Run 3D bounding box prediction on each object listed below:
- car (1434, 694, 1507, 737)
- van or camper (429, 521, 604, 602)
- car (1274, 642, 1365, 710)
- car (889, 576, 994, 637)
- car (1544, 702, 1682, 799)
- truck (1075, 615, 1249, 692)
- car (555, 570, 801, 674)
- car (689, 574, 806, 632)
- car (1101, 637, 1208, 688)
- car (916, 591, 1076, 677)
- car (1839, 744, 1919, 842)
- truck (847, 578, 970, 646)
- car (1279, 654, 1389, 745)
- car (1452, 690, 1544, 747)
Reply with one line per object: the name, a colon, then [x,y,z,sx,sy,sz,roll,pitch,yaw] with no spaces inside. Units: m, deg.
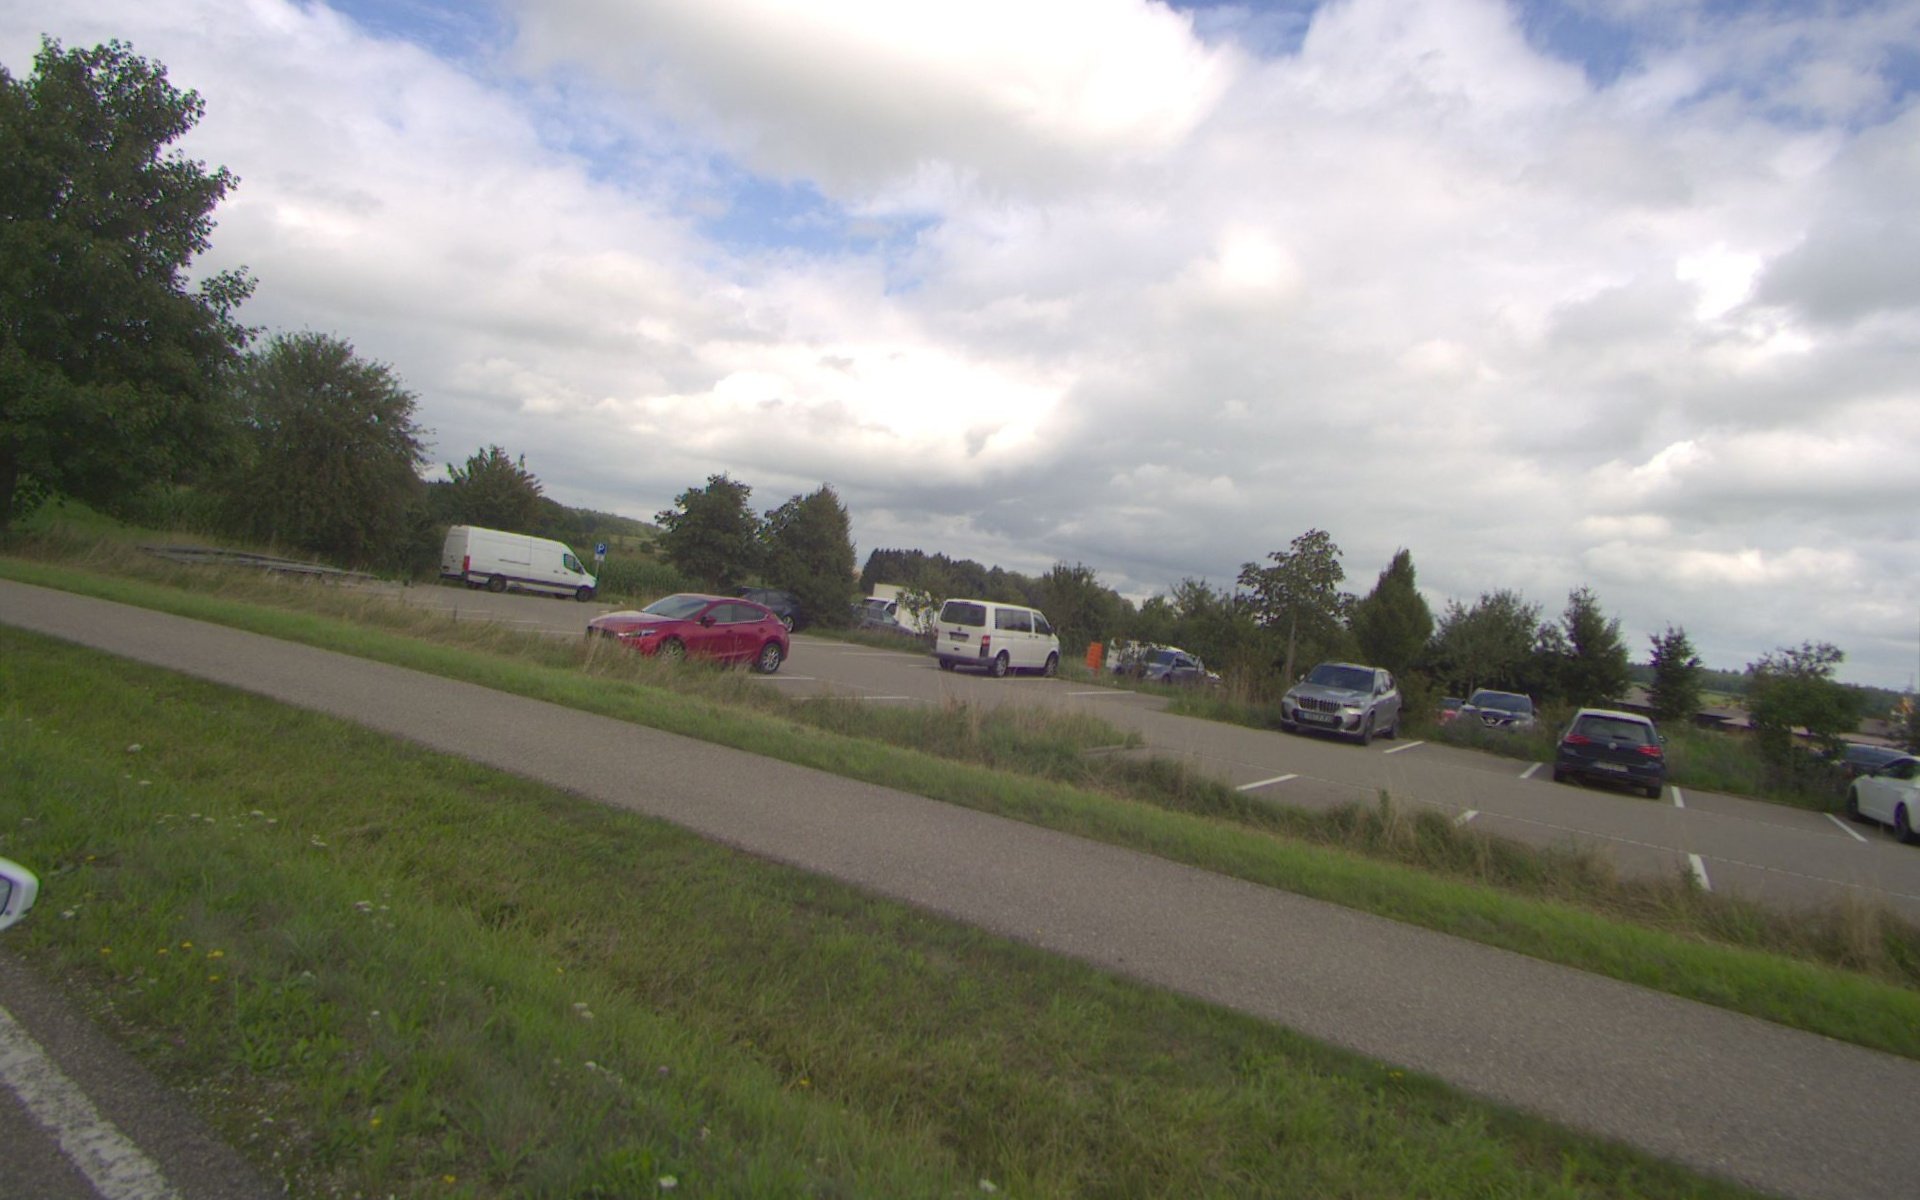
car: [18.716,4.196,36.785,1.967,1.181,3.994,7,-1,32]
van or camper: [-19.382,-1.611,44.371,2.017,2.592,6.747,7,-1,36]
car: [10.662,2.250,29.664,1.964,1.614,3.999,7,-1,26]
car: [-0.586,0.281,35.376,1.964,1.614,3.999,7,-1,26]
car: [12.678,2.856,19.743,1.729,1.407,3.697,7,-1,27]
truck: [8.451,2.243,42.192,6.277,2.244,3.136,7,-1,30]
car: [-5.326,0.499,19.589,1.938,1.595,4.334,7,0,31]
car: [-7.199,0.127,34.317,1.679,1.456,3.629,7,-1,34]
car: [6.267,2.025,32.098,1.967,1.181,3.994,7,-1,32]
car: [1.144,1.036,28.790,2.194,2.025,5.031,7,0,31]
car: [16.875,3.393,17.236,1.729,1.407,3.697,7,-1,27]
truck: [-2.659,0.726,54.235,2.786,2.747,6.887,7,-1,34]
car: [8.438,2.207,22.495,1.729,1.626,3.697,7,-1,27]
car: [15.197,3.318,28.326,1.967,1.181,3.994,7,-1,32]
